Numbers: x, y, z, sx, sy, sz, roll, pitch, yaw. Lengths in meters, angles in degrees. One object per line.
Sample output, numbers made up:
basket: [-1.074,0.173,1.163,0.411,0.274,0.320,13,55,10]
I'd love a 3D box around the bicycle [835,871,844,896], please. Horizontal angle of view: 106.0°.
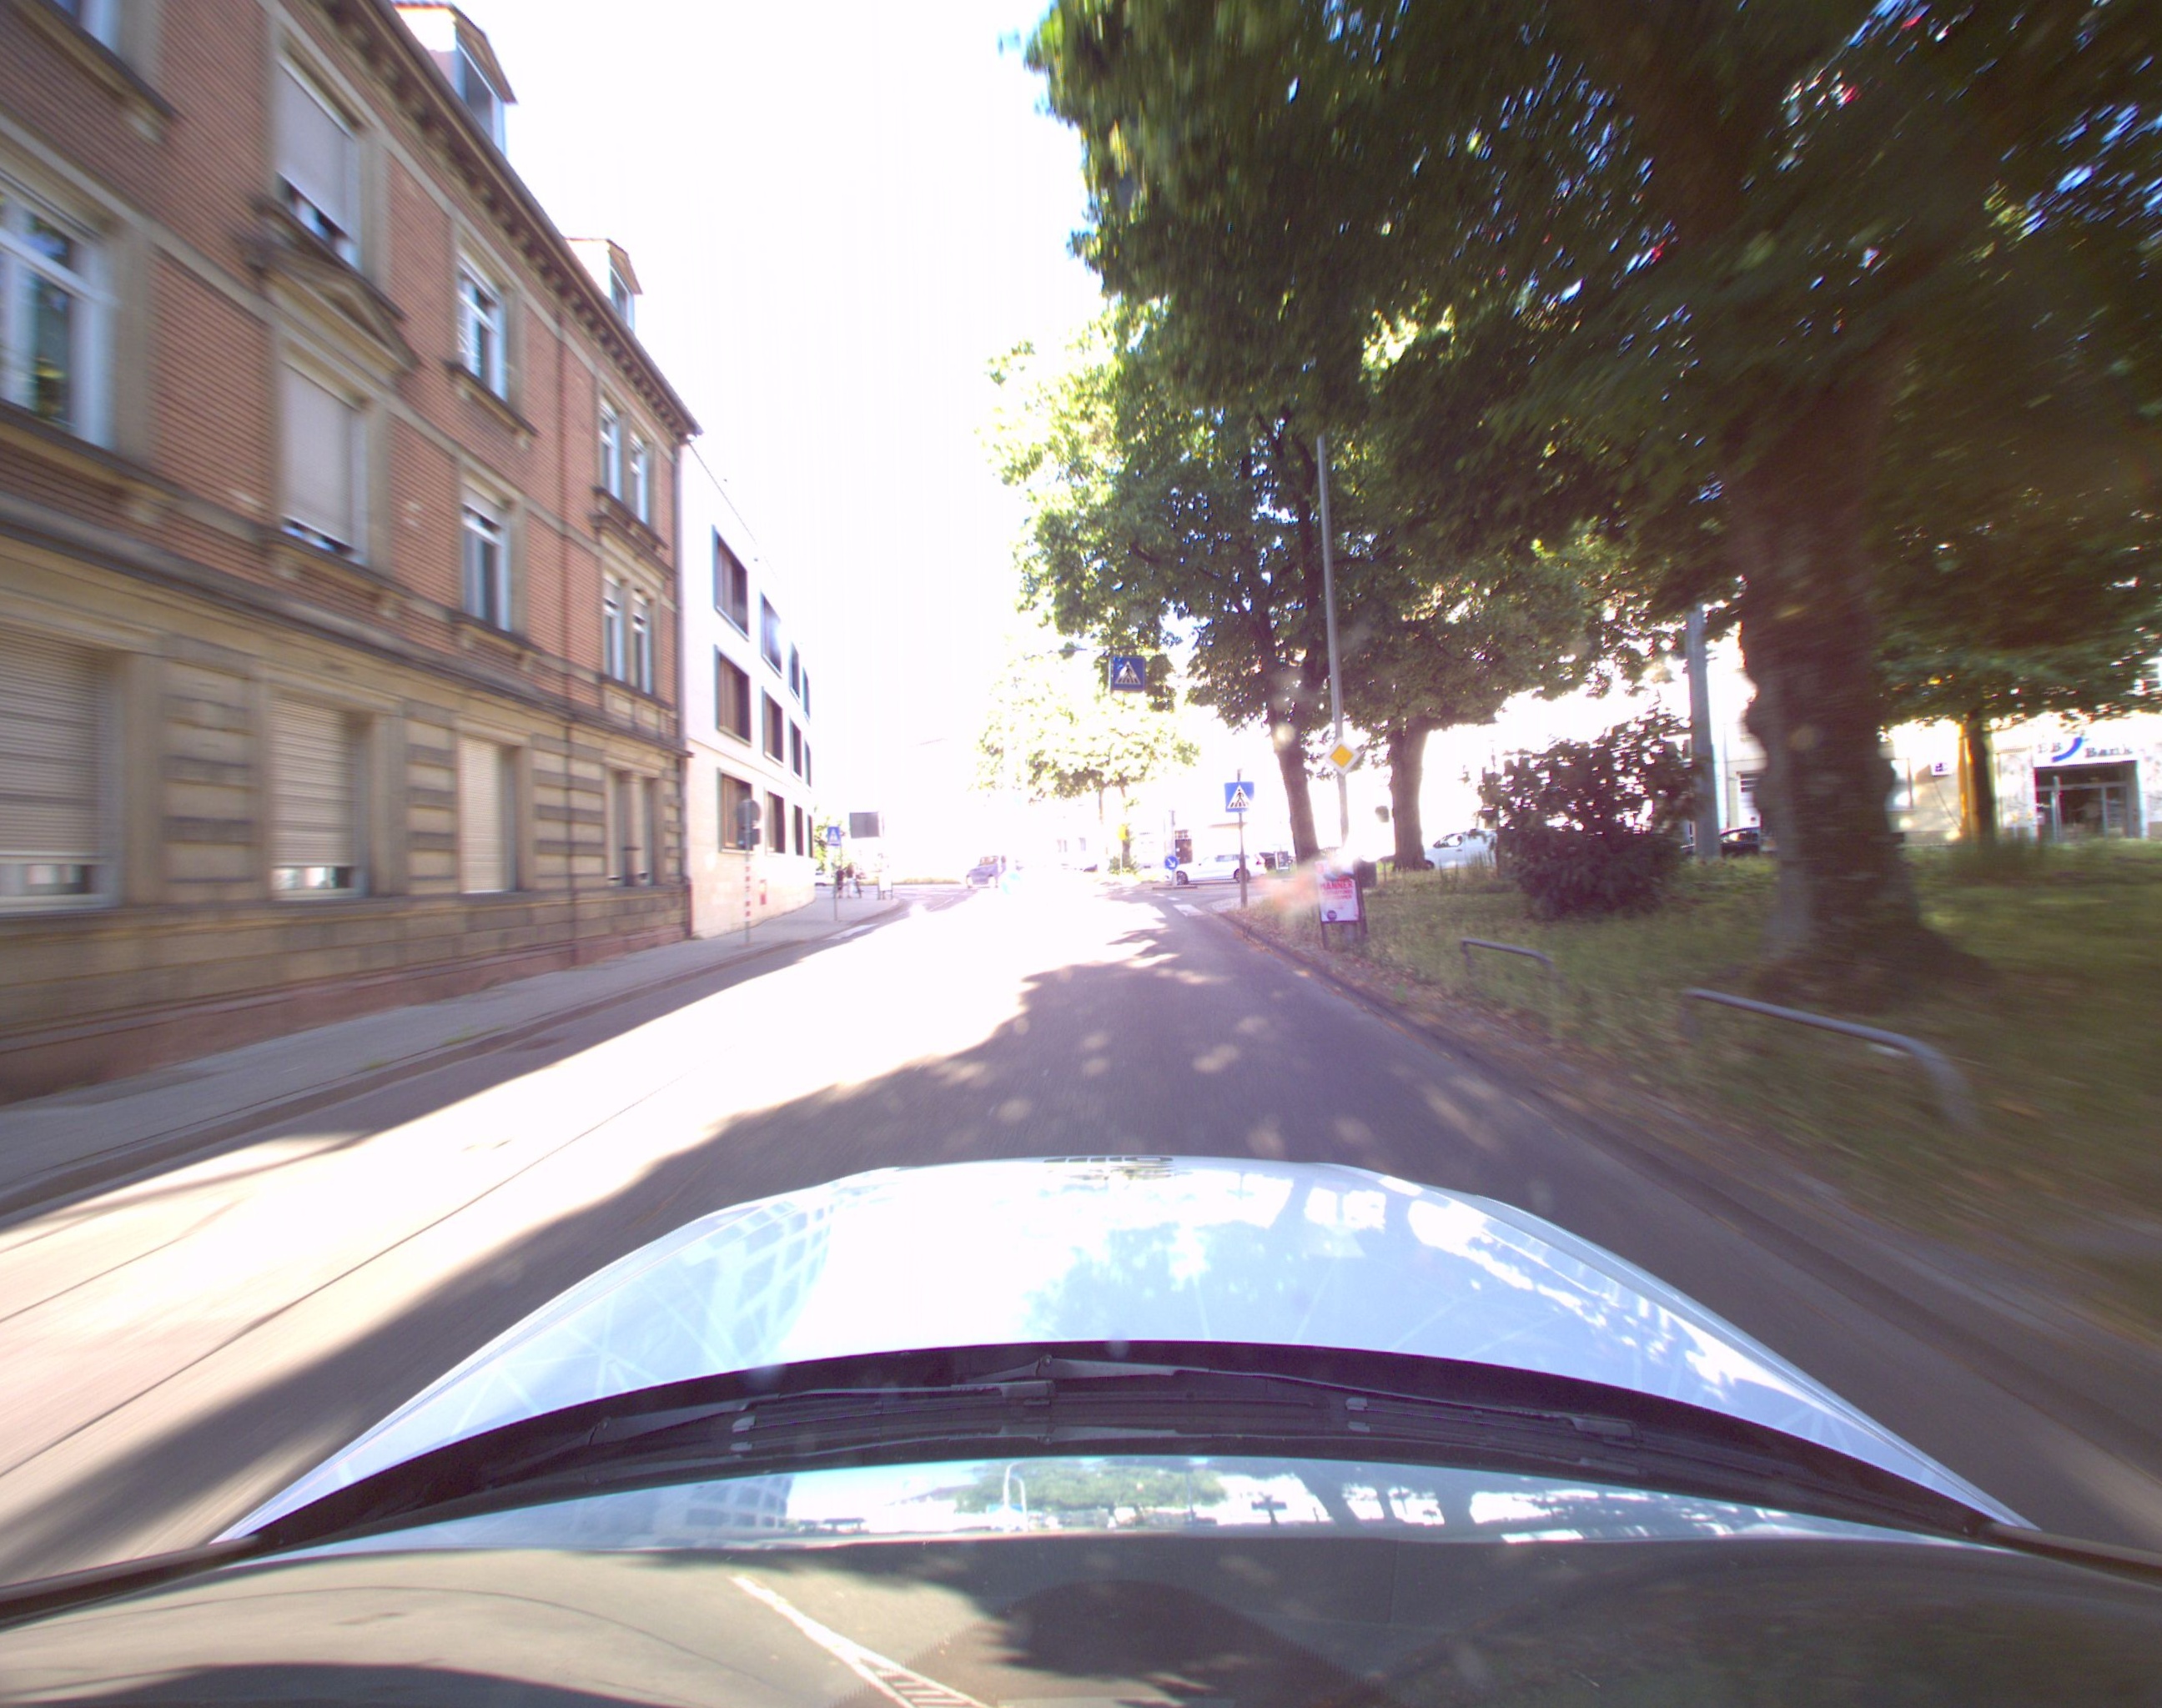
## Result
bicycle: [-11.789,1.421,39.729,0.377,1.167,1.826,-2,0,-18]

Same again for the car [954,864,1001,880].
car: [-9.803,1.687,77.123,4.389,1.386,2.013,-2,0,41]

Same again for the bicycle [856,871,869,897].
bicycle: [-10.647,1.437,39.620,0.442,1.178,1.953,-1,0,-20]

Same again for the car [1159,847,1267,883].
car: [6.231,0.509,38.293,4.720,1.463,1.863,-2,0,17]

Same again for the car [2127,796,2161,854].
car: [30.414,-0.835,20.923,4.020,1.519,2.012,-2,0,43]

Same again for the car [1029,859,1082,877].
car: [-2.176,1.240,69.450,4.390,1.386,2.012,-2,0,44]

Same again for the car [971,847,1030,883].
car: [-4.766,0.659,47.640,2.006,2.014,3.961,-1,-1,-30]

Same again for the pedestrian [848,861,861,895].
pedestrian: [-11.010,1.165,39.599,0.475,1.647,0.598,-3,0,-20]

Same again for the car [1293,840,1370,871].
car: [15.770,0.102,51.402,4.156,1.749,2.012,-2,0,44]

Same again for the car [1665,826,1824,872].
car: [23.018,-0.159,28.351,2.011,1.444,4.022,-2,0,-42]

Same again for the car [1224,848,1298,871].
car: [12.102,0.398,54.923,4.390,1.386,2.012,-2,0,44]

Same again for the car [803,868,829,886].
car: [-25.003,2.170,76.769,1.967,1.505,3.656,-3,0,-23]

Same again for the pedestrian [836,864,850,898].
pedestrian: [-11.545,1.302,39.488,0.476,1.565,0.598,-4,0,-21]

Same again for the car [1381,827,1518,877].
car: [15.194,-0.065,33.647,4.838,1.854,2.013,-2,0,33]

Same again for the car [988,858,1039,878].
car: [-6.139,1.304,73.453,4.583,1.572,2.012,-4,-1,44]

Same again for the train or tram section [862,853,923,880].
train or tram section: [-26.215,1.663,113.684,2.750,3.555,9.976,-3,-1,24]
